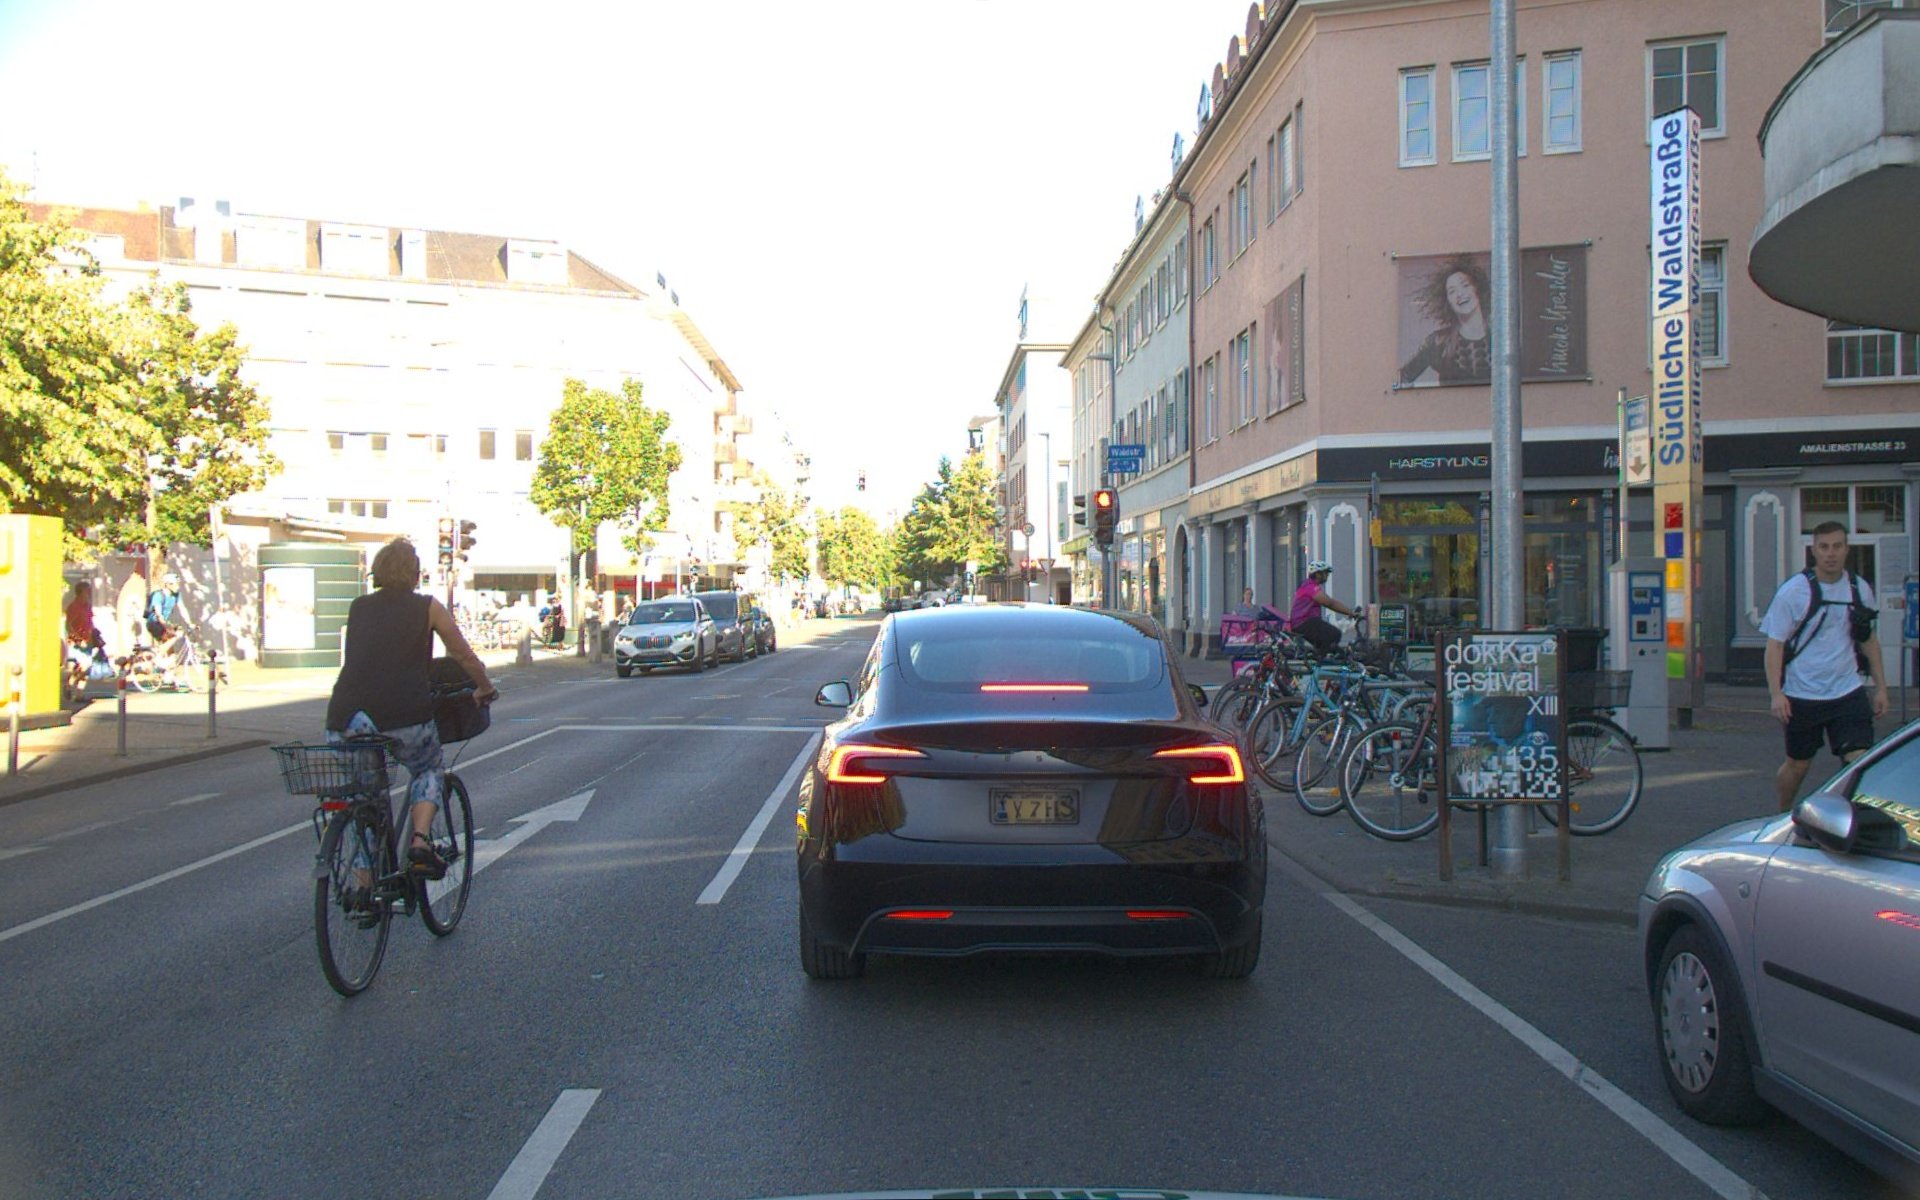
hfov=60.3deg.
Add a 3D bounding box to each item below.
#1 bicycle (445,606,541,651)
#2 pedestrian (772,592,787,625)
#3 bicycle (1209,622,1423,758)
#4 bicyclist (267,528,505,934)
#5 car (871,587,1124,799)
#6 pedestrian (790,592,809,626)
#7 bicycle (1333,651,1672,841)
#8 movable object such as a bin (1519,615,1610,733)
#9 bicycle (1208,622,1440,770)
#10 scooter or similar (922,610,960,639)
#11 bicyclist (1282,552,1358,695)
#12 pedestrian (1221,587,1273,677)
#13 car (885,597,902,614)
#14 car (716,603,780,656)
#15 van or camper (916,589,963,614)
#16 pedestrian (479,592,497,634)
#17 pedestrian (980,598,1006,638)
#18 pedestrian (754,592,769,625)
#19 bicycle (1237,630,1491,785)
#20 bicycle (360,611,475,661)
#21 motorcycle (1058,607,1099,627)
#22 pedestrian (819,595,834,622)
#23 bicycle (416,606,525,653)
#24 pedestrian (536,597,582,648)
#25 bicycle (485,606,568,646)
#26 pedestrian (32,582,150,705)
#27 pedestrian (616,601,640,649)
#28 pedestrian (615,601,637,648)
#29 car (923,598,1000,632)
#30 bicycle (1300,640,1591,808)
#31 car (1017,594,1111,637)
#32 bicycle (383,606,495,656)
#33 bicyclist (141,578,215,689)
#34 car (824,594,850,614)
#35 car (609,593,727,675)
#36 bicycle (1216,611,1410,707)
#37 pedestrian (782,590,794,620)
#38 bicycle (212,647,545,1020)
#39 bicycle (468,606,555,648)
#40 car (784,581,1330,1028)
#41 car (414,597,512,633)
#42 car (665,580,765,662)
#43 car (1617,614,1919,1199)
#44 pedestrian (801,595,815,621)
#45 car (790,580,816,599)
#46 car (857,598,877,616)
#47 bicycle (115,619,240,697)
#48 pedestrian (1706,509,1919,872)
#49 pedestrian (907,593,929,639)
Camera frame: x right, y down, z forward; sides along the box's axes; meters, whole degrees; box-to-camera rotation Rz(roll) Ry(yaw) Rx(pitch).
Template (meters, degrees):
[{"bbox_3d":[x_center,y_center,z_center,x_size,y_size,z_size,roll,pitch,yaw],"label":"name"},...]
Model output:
[{"bbox_3d":[-14.011,0.844,49.648,2.609,1.281,0.942,1,0,-4],"label":"bicycle"},{"bbox_3d":[-10.592,0.495,96.927,0.721,1.900,0.787,1,-1,-17],"label":"pedestrian"},{"bbox_3d":[3.161,0.788,14.782,1.776,1.172,0.653,0,0,0],"label":"bicycle"},{"bbox_3d":[-2.281,0.491,6.679,0.594,1.510,0.958,1,0,0],"label":"bicyclist"},{"bbox_3d":[0.241,0.683,14.201,1.812,1.507,4.450,1,0,-1],"label":"car"},{"bbox_3d":[-9.162,0.510,94.438,0.719,1.900,0.790,1,-1,28],"label":"pedestrian"},{"bbox_3d":[3.277,0.871,10.096,1.844,1.062,0.653,-1,0,0],"label":"bicycle"},{"bbox_3d":[6.041,0.728,16.547,0.623,1.122,0.728,-2,0,3],"label":"movable object such as a bin"},{"bbox_3d":[2.977,0.780,13.645,1.776,1.172,0.653,0,0,0],"label":"bicycle"},{"bbox_3d":[-0.780,0.986,66.410,1.317,1.154,0.803,1,-1,-25],"label":"scooter or similar"},{"bbox_3d":[4.600,0.302,21.175,0.845,1.786,0.681,-2,-1,7],"label":"bicyclist"},{"bbox_3d":[5.078,0.561,29.285,0.773,1.576,0.724,1,-1,0],"label":"pedestrian"},{"bbox_3d":[-7.424,0.577,185.668,1.854,1.845,3.923,1,0,-2],"label":"car"},{"bbox_3d":[-6.337,0.852,49.696,1.431,1.455,3.605,-3,0,-1],"label":"car"},{"bbox_3d":[-2.072,0.169,167.525,4.752,2.481,1.850,0,0,-1],"label":"van or camper"},{"bbox_3d":[-17.799,0.490,62.387,0.613,1.550,0.577,1,-1,-14],"label":"pedestrian"},{"bbox_3d":[1.360,0.761,68.889,0.800,1.637,0.700,1,-1,-38],"label":"pedestrian"},{"bbox_3d":[-11.604,0.477,96.761,0.721,1.900,0.787,1,-1,-17],"label":"pedestrian"},{"bbox_3d":[3.048,0.802,12.572,1.776,1.121,0.653,0,0,0],"label":"bicycle"},{"bbox_3d":[-13.951,0.924,42.591,2.607,1.216,0.942,1,0,-4],"label":"bicycle"},{"bbox_3d":[6.408,0.919,89.630,2.364,1.054,0.772,1,-1,-41],"label":"motorcycle"},{"bbox_3d":[-9.423,0.598,116.790,0.764,1.900,1.002,1,-1,-23],"label":"pedestrian"},{"bbox_3d":[-14.002,0.829,47.329,2.818,1.292,0.942,1,0,-4],"label":"bicycle"},{"bbox_3d":[-13.239,0.747,54.629,1.069,1.639,1.267,1,0,7],"label":"pedestrian"},{"bbox_3d":[-14.229,0.856,54.344,2.491,1.273,0.942,1,0,-4],"label":"bicycle"},{"bbox_3d":[-12.754,0.623,24.305,1.086,1.750,1.062,1,0,10],"label":"pedestrian"},{"bbox_3d":[-12.530,0.938,62.464,0.830,1.790,0.704,1,-1,-15],"label":"pedestrian"},{"bbox_3d":[-12.747,0.932,63.090,0.650,1.790,0.648,1,-1,-27],"label":"pedestrian"},{"bbox_3d":[0.069,0.826,93.201,3.926,1.819,2.034,0,0,36],"label":"car"},{"bbox_3d":[3.248,0.819,11.168,1.776,1.078,0.653,0,0,0],"label":"bicycle"},{"bbox_3d":[4.710,0.699,74.746,3.937,1.900,1.686,0,0,-22],"label":"car"},{"bbox_3d":[-14.125,0.842,44.928,2.725,1.296,0.932,1,0,-4],"label":"bicycle"},{"bbox_3d":[-12.585,0.534,26.627,0.790,1.739,0.703,1,-1,19],"label":"bicyclist"},{"bbox_3d":[-12.348,0.394,166.267,2.365,2.004,4.677,0,0,-1],"label":"car"},{"bbox_3d":[-6.324,0.709,36.242,1.788,1.592,4.299,-4,0,-1],"label":"car"},{"bbox_3d":[4.493,0.745,21.188,2.339,1.171,0.713,-1,-1,6],"label":"bicycle"},{"bbox_3d":[-10.769,0.311,103.719,0.681,1.900,0.658,1,-1,-6],"label":"pedestrian"},{"bbox_3d":[-2.278,0.841,6.766,0.615,1.244,2.001,1,0,0],"label":"bicycle"},{"bbox_3d":[-14.063,0.849,51.922,2.491,1.273,0.942,1,0,-4],"label":"bicycle"},{"bbox_3d":[0.298,0.697,7.777,1.812,1.472,4.450,1,0,-1],"label":"car"},{"bbox_3d":[-22.069,0.638,73.425,4.062,1.557,1.541,0,0,-22],"label":"car"},{"bbox_3d":[-6.233,0.504,42.570,1.906,1.981,4.819,0,0,-1],"label":"car"},{"bbox_3d":[2.920,0.778,3.542,1.551,1.451,3.579,1,0,-1],"label":"car"},{"bbox_3d":[-10.969,0.583,119.472,0.686,1.900,0.902,1,-1,-26],"label":"pedestrian"},{"bbox_3d":[-17.022,-1.130,179.411,2.228,2.049,4.717,1,0,0],"label":"car"},{"bbox_3d":[-10.505,0.828,186.971,2.089,2.004,4.133,0,0,-1],"label":"car"},{"bbox_3d":[-12.597,0.915,26.613,1.910,1.183,0.618,1,0,19],"label":"bicycle"},{"bbox_3d":[4.677,0.468,9.007,0.792,1.855,0.983,1,-1,2],"label":"pedestrian"},{"bbox_3d":[-1.670,0.637,65.970,0.649,1.790,0.649,1,-1,-24],"label":"pedestrian"}]
